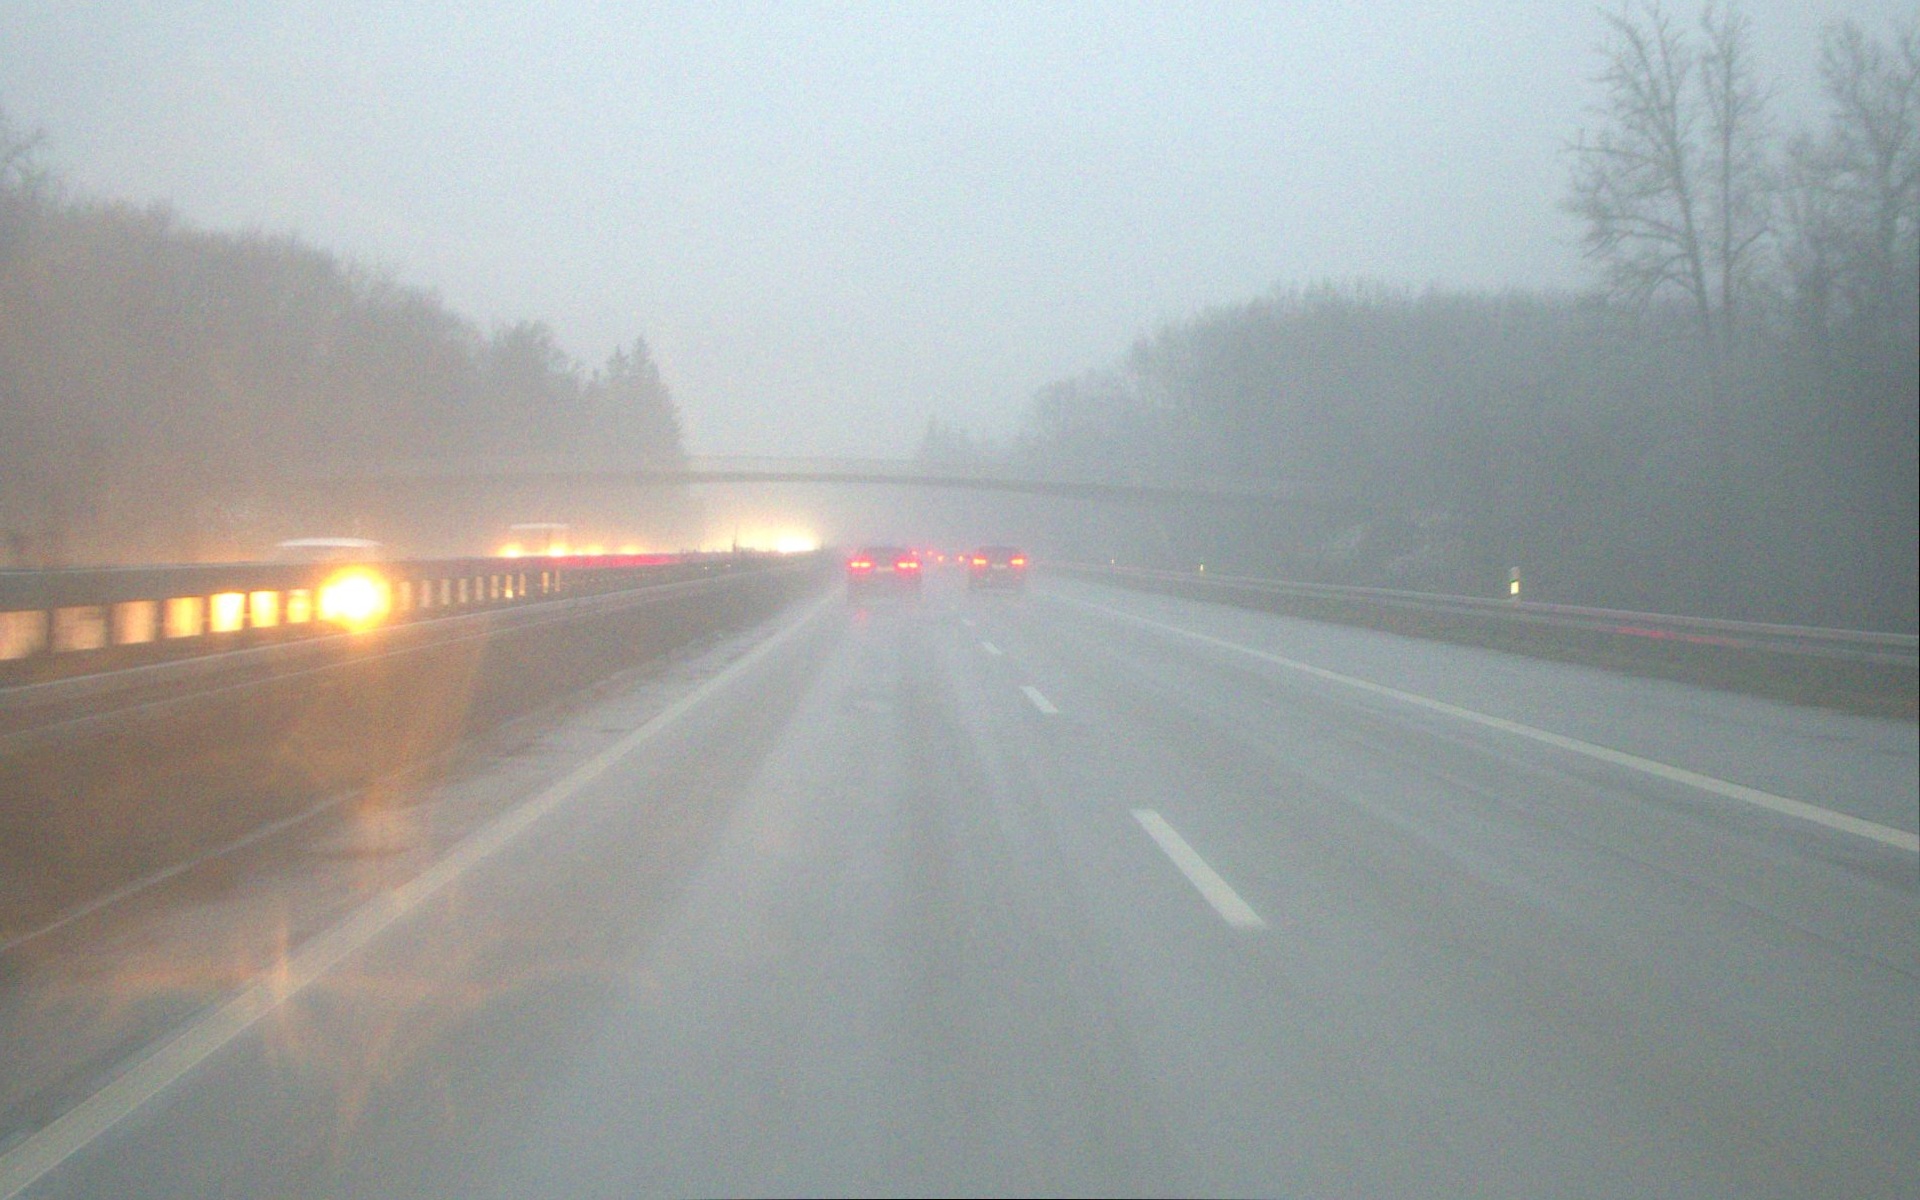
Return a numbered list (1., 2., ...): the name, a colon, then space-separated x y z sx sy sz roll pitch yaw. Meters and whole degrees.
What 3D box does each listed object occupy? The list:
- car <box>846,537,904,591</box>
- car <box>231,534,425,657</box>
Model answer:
1. car: -2.173 -0.921 88.543 1.454 1.339 3.490 1 0 -1
2. car: -8.202 -0.083 44.943 1.727 1.455 4.417 2 1 -1
